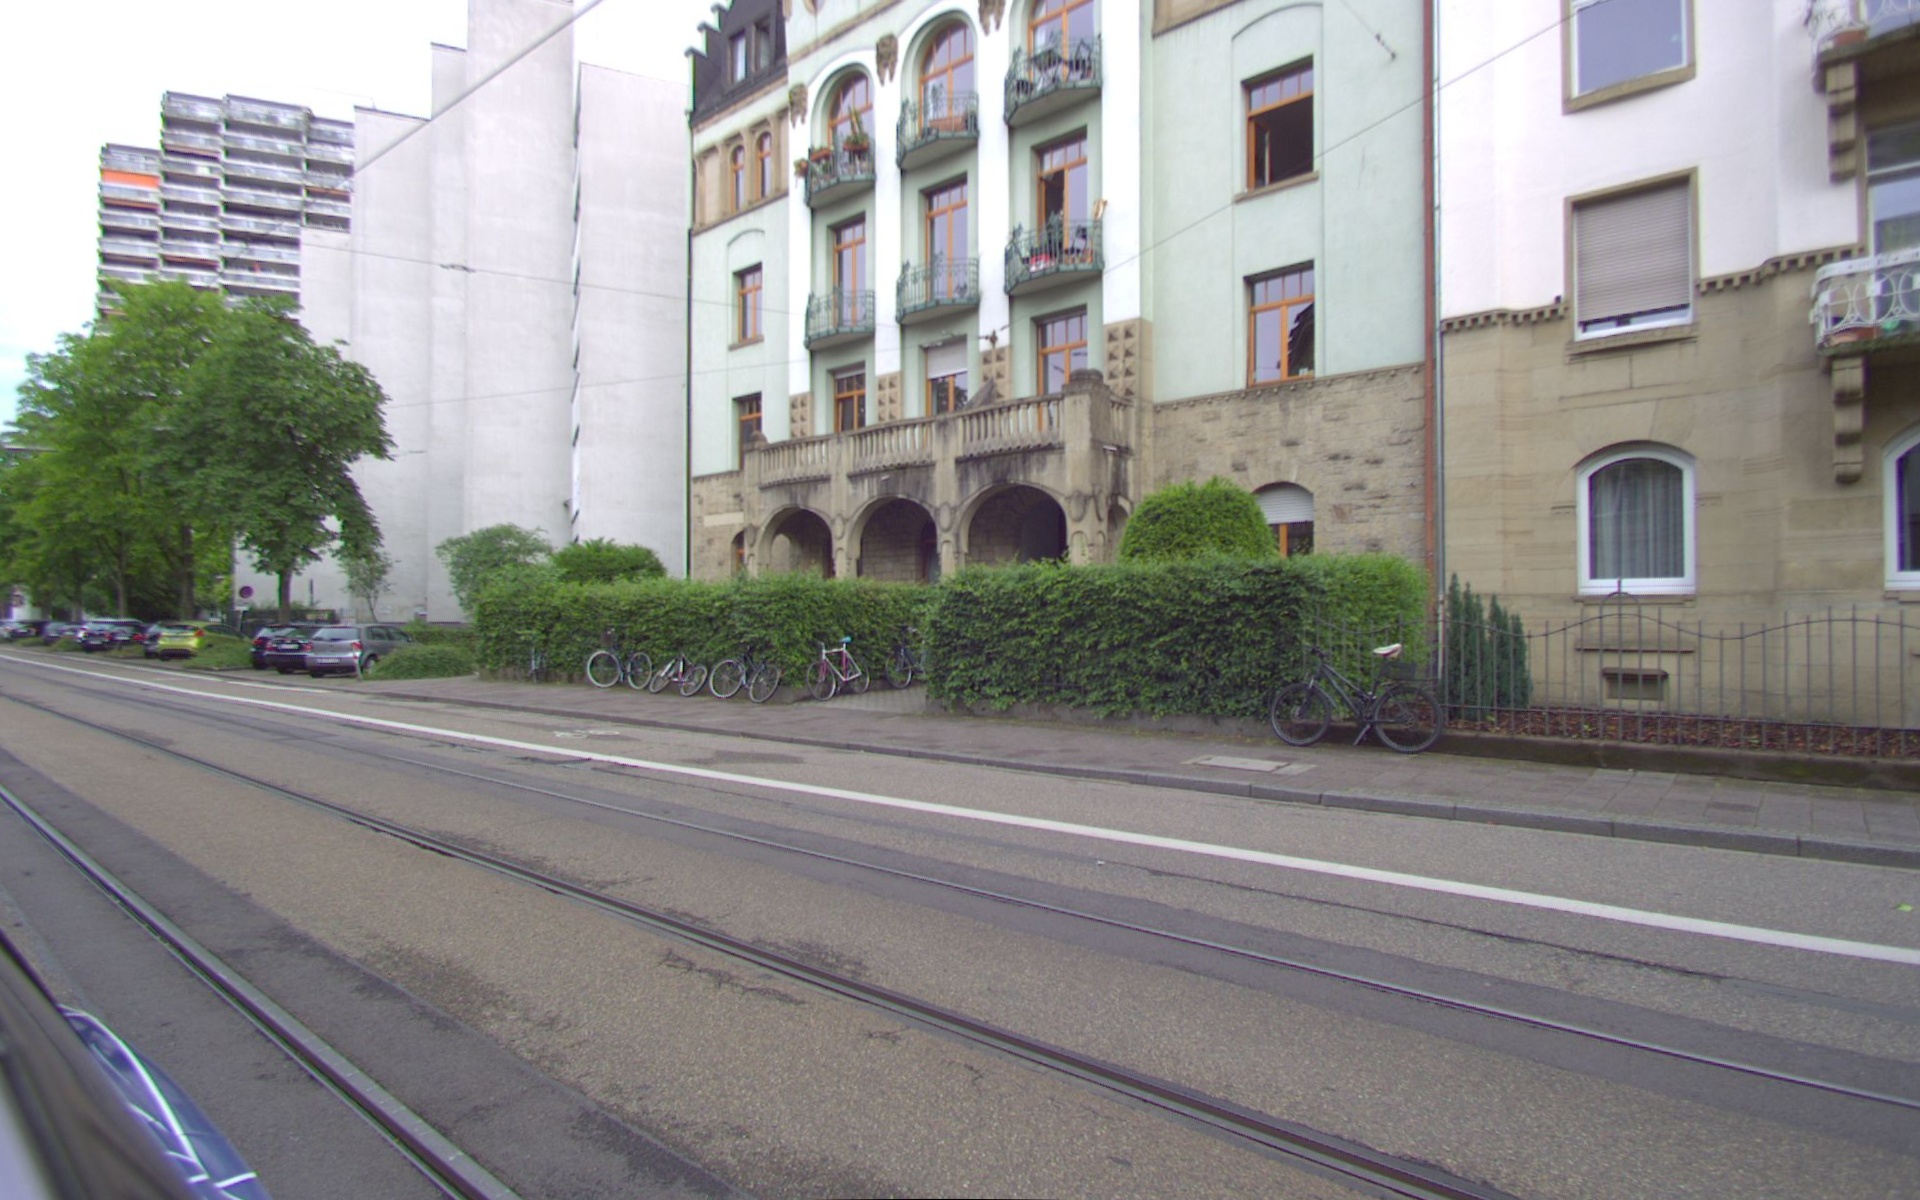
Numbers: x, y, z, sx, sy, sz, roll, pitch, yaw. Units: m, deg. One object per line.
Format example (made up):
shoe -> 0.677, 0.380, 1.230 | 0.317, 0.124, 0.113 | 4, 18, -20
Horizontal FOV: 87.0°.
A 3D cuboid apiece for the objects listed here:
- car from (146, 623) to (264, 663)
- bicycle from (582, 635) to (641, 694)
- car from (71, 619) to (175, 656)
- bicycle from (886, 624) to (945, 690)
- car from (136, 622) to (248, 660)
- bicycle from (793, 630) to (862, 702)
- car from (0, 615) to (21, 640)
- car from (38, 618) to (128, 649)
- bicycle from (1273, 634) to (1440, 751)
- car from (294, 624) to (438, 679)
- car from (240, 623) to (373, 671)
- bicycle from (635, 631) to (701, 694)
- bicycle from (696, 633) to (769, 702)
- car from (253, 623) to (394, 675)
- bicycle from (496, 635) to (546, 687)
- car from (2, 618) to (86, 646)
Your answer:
car -> -28.857, 1.612, 38.843 | 1.670, 1.405, 4.002 | 0, -1, -3
bicycle -> -6.792, 1.230, 19.669 | 1.546, 1.092, 0.356 | -1, -1, 41
car -> -38.717, 1.721, 46.956 | 1.670, 1.632, 4.002 | 0, -1, -3
bicycle -> -0.804, 1.021, 18.434 | 0.300, 1.091, 1.190 | -1, 1, 42
car -> -31.019, 1.629, 41.008 | 1.670, 1.453, 4.002 | 0, -1, -3
bicycle -> -2.185, 1.074, 16.796 | 0.300, 1.091, 1.190 | -1, 1, 42
car -> -64.710, 1.847, 68.136 | 3.996, 1.632, 1.673 | -1, -1, 39
car -> -48.543, 1.811, 56.099 | 1.670, 1.632, 4.002 | 0, -1, -3
bicycle -> 3.995, 0.900, 10.278 | 1.546, 1.092, 0.356 | -1, -1, 41
car -> -16.530, 1.393, 28.392 | 1.672, 1.413, 3.999 | 0, -1, 1
car -> -20.872, 1.467, 32.542 | 1.672, 1.413, 3.999 | 0, -1, 1
bicycle -> -5.274, 1.106, 18.245 | 1.546, 1.092, 0.356 | -1, -1, 41
bicycle -> -3.819, 1.111, 16.920 | 1.546, 1.092, 0.356 | -1, -1, 41
car -> -18.791, 1.404, 30.103 | 1.672, 1.413, 3.999 | 0, -1, 1
bicycle -> -9.519, 1.303, 21.922 | 1.546, 1.092, 0.356 | -1, -1, 41
car -> -56.228, 1.934, 62.229 | 1.670, 1.632, 4.002 | 0, -1, -3
